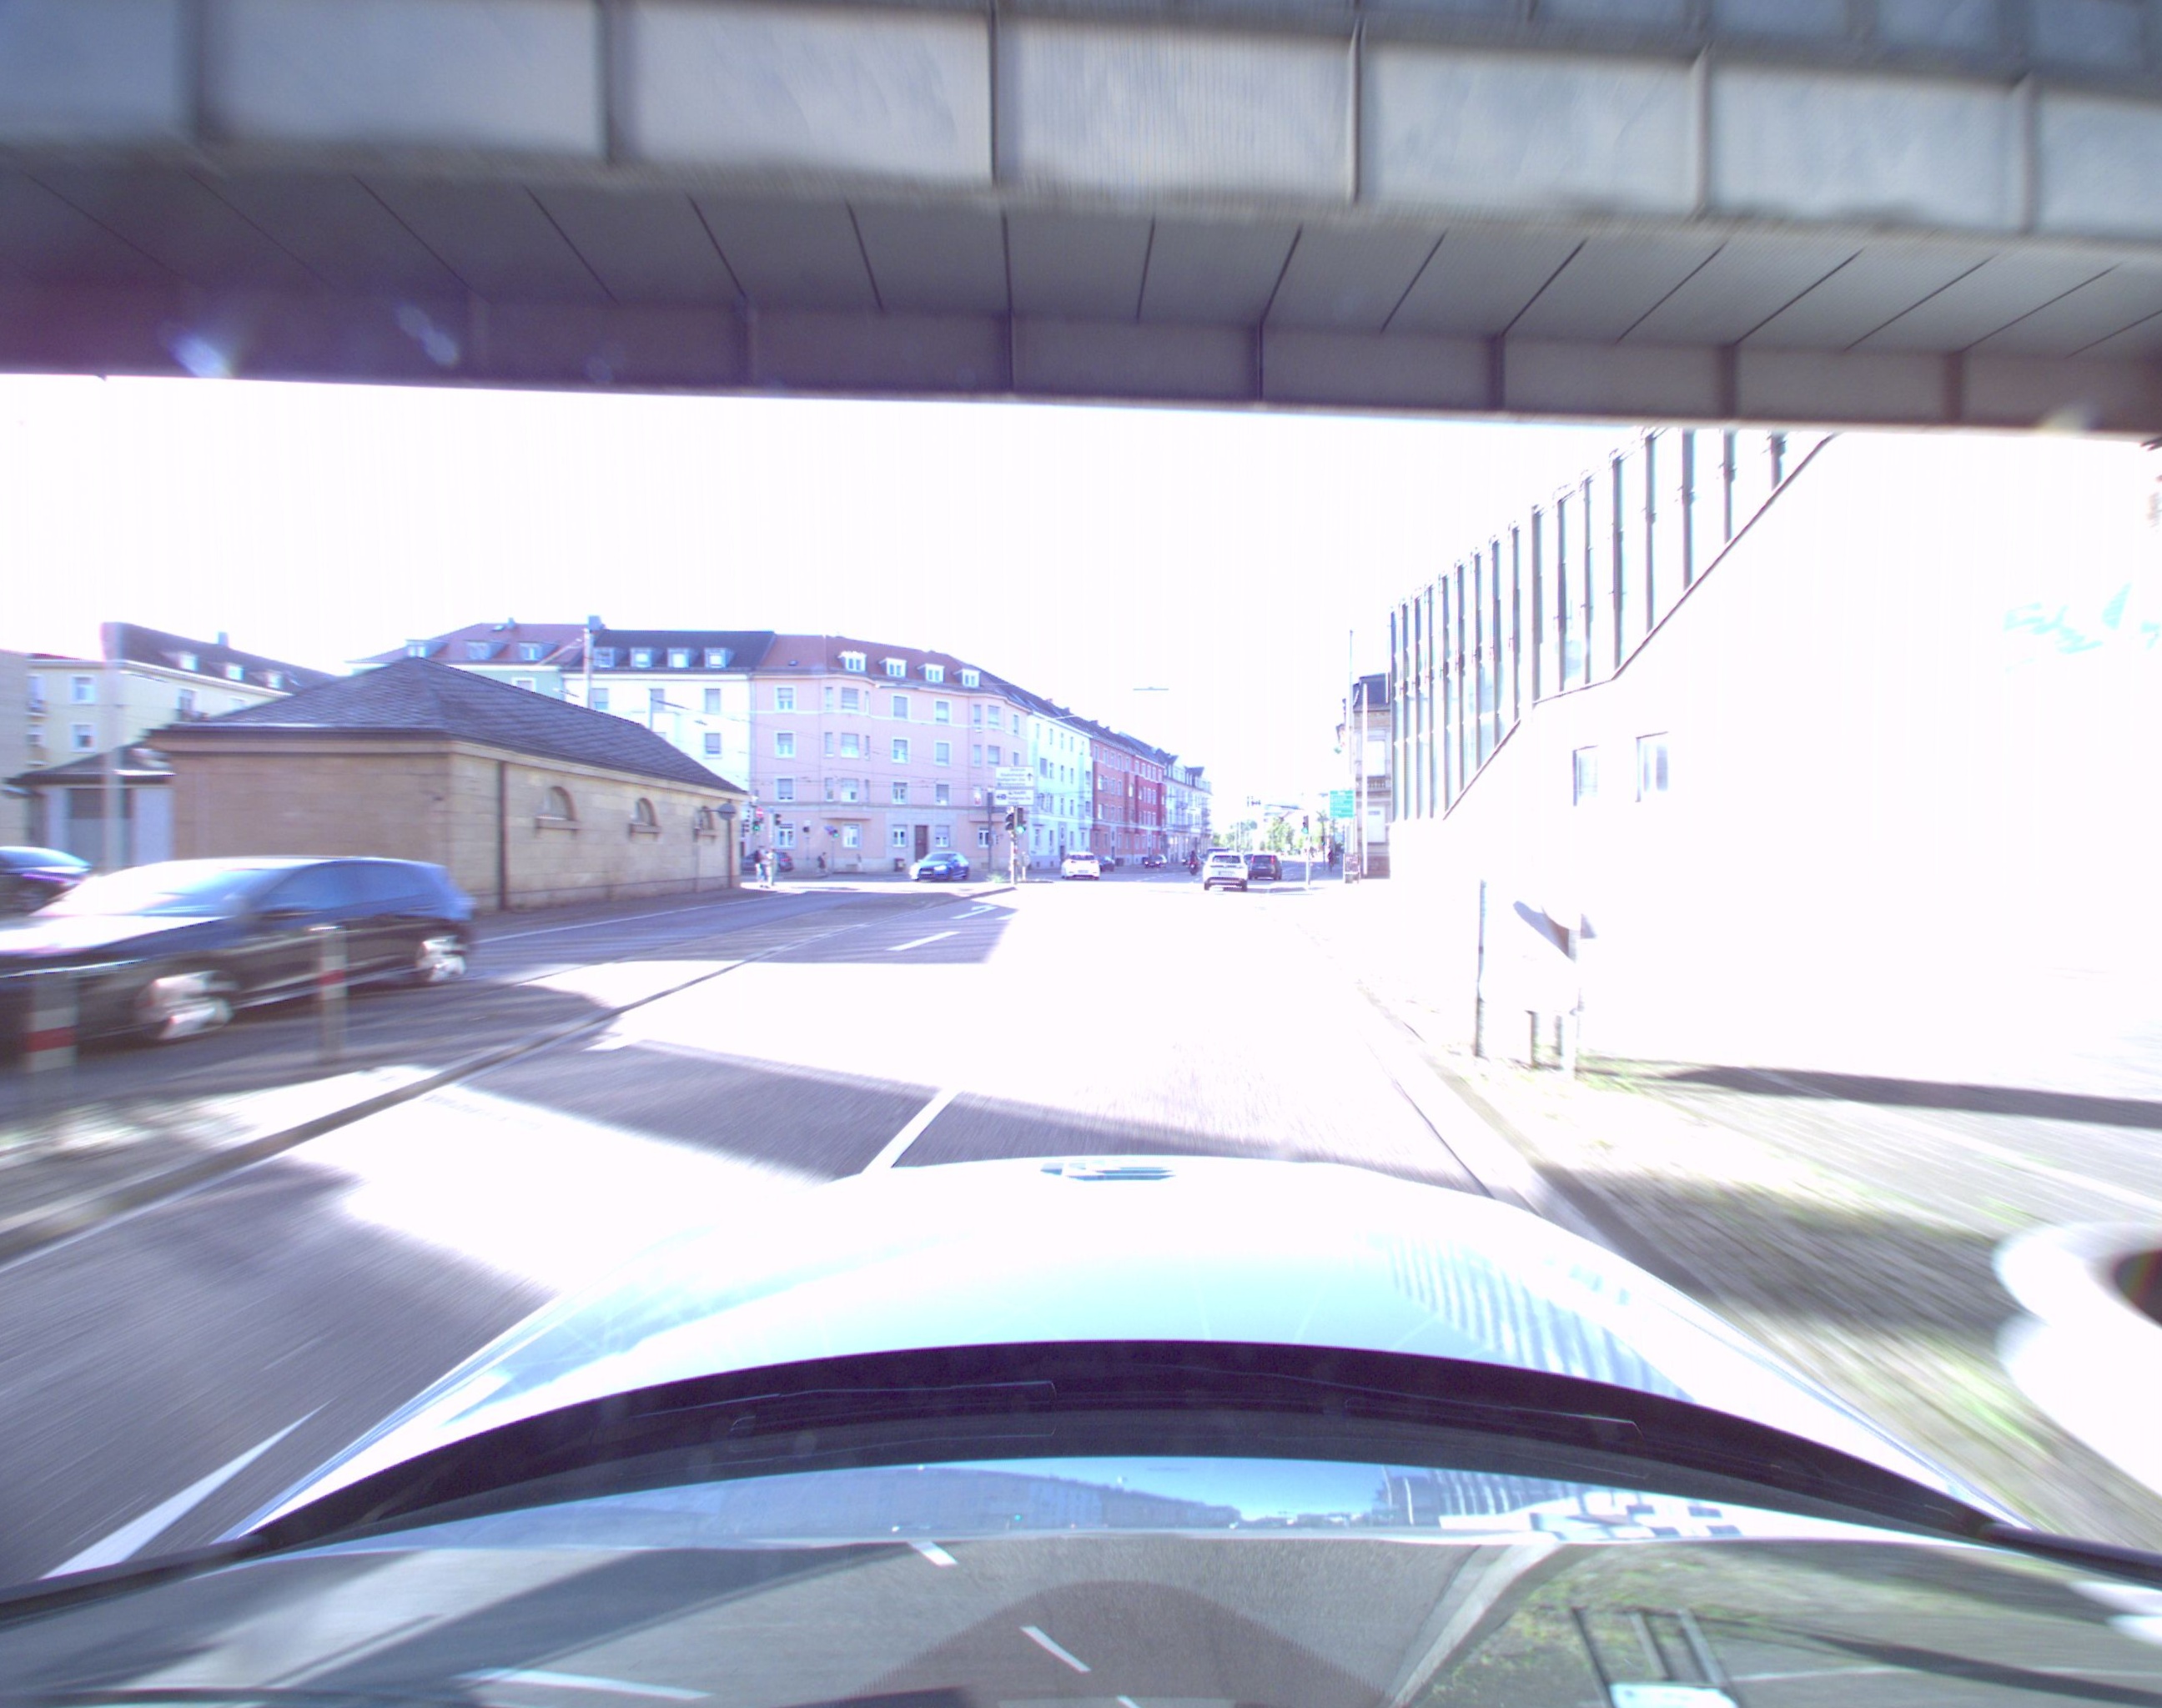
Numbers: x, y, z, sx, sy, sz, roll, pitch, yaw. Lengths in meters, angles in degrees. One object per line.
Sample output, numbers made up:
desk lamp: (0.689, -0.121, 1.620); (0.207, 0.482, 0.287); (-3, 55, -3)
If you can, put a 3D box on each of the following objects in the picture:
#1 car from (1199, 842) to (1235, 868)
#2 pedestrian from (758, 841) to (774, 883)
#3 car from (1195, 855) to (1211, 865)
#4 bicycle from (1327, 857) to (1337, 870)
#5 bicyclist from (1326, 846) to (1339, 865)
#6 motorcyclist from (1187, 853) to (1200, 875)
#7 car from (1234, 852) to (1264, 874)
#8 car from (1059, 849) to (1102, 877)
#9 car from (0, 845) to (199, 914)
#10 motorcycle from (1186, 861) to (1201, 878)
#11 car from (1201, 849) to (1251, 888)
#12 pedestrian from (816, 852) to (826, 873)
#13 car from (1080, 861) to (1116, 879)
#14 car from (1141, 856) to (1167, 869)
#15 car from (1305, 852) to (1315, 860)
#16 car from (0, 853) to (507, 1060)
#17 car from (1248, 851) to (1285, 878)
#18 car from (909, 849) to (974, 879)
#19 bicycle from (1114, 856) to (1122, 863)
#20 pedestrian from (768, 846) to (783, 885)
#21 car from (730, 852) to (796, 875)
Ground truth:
car: (11.171, 0.103, 66.610); (2.154, 2.009, 4.831); (0, 0, 19)
pedestrian: (-12.563, 0.323, 32.442); (0.516, 1.640, 0.620); (0, 0, -29)
car: (17.786, 0.878, 118.565); (1.712, 1.375, 3.550); (0, 0, 18)
bicycle: (20.431, 0.767, 66.217); (0.765, 1.086, 1.879); (0, 0, 18)
bicyclist: (20.441, 0.143, 66.286); (0.830, 1.525, 0.995); (0, 0, 5)
motorcyclist: (7.559, 0.669, 54.668); (0.772, 1.423, 0.894); (0, 0, 13)
car: (12.454, 0.656, 60.172); (1.800, 1.582, 4.017); (0, 0, 16)
car: (-0.088, 0.456, 42.872); (1.785, 1.394, 4.095); (0, 0, -7)
car: (-21.763, 0.509, 17.278); (3.977, 1.398, 1.809); (0, 0, -3)
motorcycle: (7.570, 1.041, 54.747); (0.772, 1.082, 2.289); (0, 0, 14)
car: (6.092, 0.576, 34.186); (1.935, 1.528, 4.102); (0, 0, 10)
pedestrian: (-19.103, 0.629, 59.885); (0.719, 1.563, 0.673); (0, 0, -17)
car: (1.486, 1.341, 69.883); (1.809, 1.425, 4.348); (0, 0, 19)
car: (8.187, 0.962, 91.049); (1.978, 1.392, 4.582); (0, 0, 17)
car: (51.665, 0.396, 183.608); (1.978, 1.662, 4.518); (0, 0, 18)
car: (-7.930, 0.702, 7.794); (1.747, 1.405, 4.414); (0, 0, -1)
car: (10.838, 0.583, 47.374); (1.717, 1.500, 4.019); (0, 0, 18)
car: (-6.716, 0.443, 39.598); (1.799, 1.391, 4.258); (0, 0, 9)
bicycle: (4.631, 0.710, 101.804); (0.331, 0.890, 1.613); (0, 0, 23)
pedestrian: (-13.086, 0.502, 34.903); (0.490, 1.640, 0.620); (0, 0, -29)
car: (-21.860, 0.648, 56.085); (3.867, 1.574, 1.924); (0, 0, -10)
